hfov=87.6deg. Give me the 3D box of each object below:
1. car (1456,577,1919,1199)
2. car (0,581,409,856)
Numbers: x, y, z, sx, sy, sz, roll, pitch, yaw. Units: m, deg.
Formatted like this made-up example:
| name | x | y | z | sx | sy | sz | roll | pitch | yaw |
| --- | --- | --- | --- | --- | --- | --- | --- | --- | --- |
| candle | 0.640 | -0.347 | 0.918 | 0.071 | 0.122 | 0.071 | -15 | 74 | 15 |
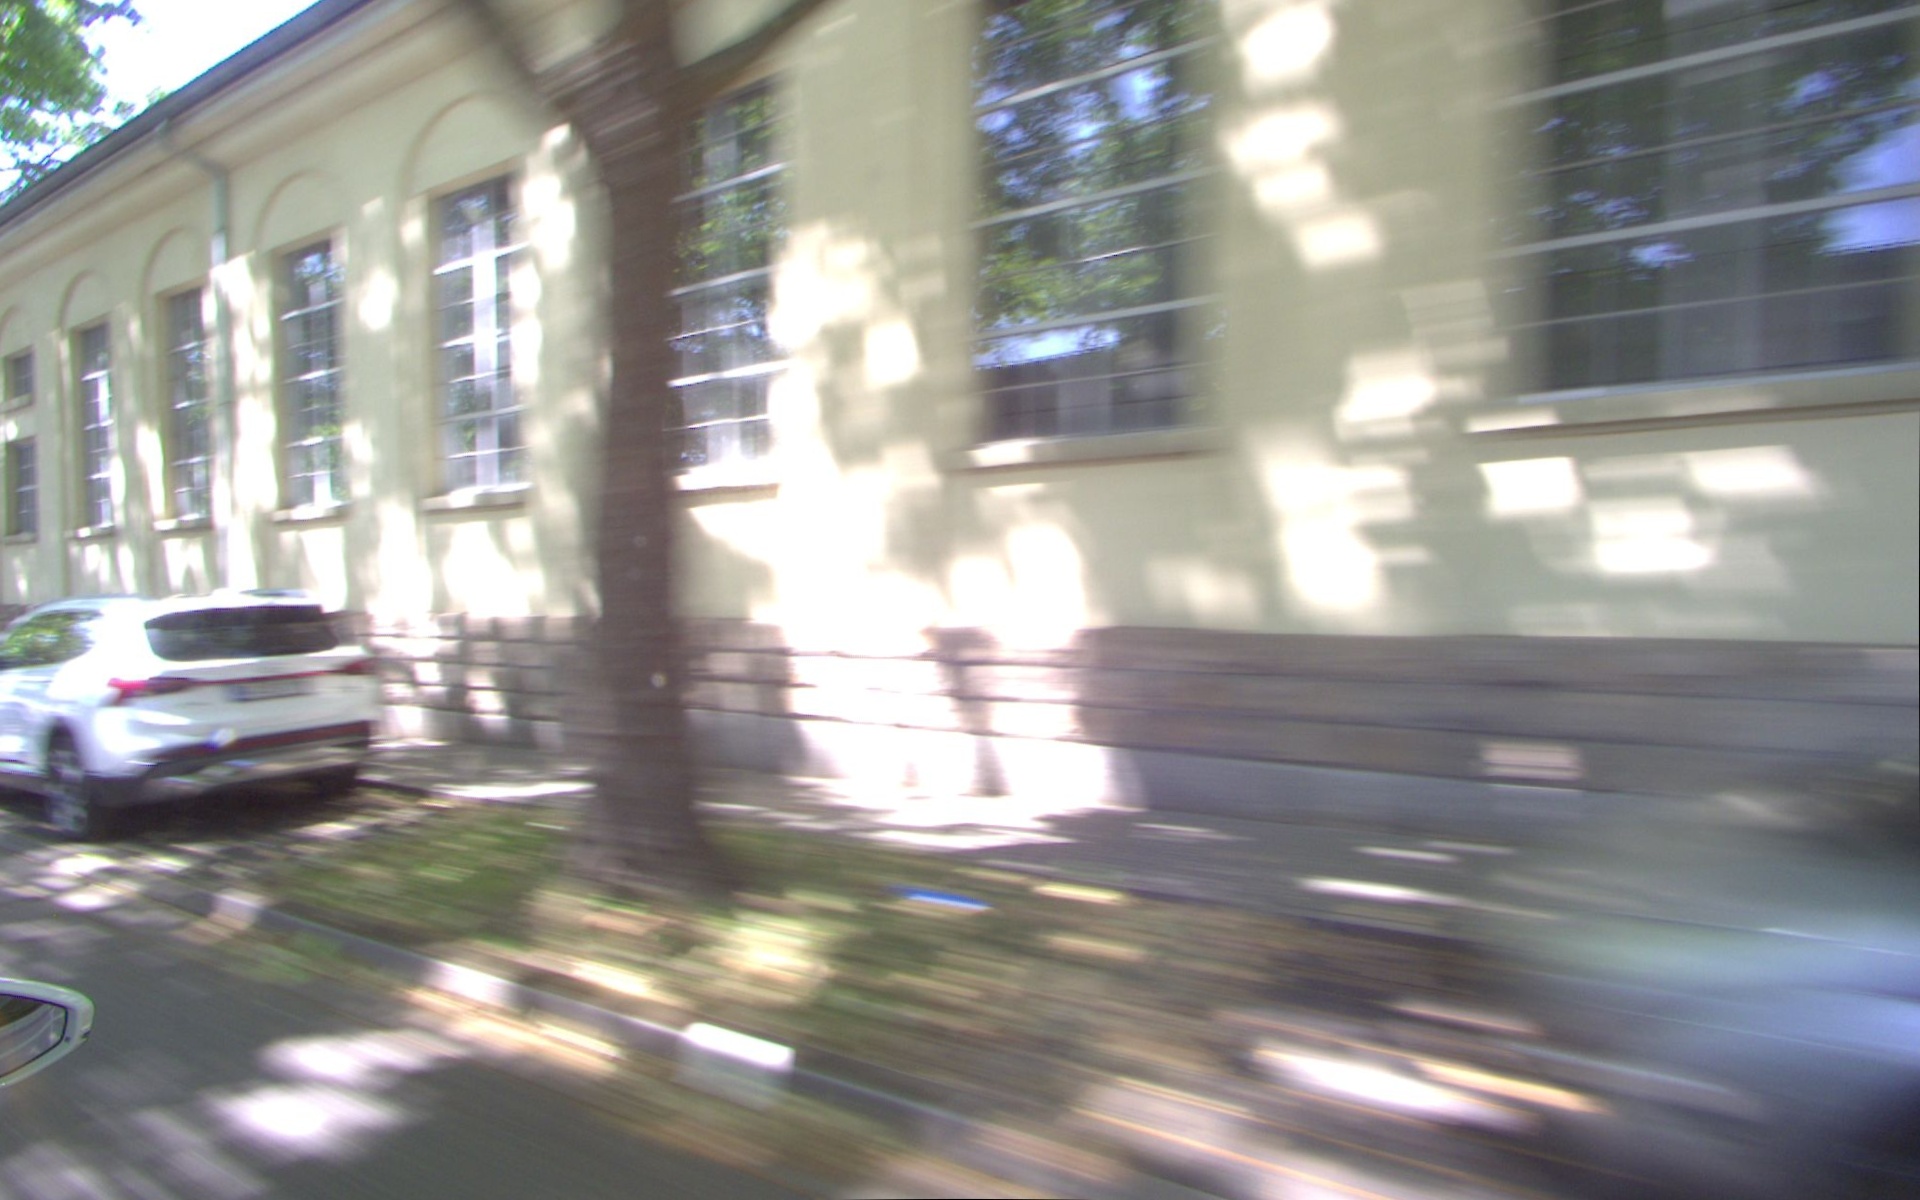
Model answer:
| name | x | y | z | sx | sy | sz | roll | pitch | yaw |
| --- | --- | --- | --- | --- | --- | --- | --- | --- | --- |
| car | 3.365 | 0.664 | 1.712 | 4.370 | 1.459 | 1.617 | -1 | 1 | 33 |
| car | -6.773 | 0.769 | 8.304 | 4.684 | 1.712 | 1.803 | -1 | 1 | 33 |
